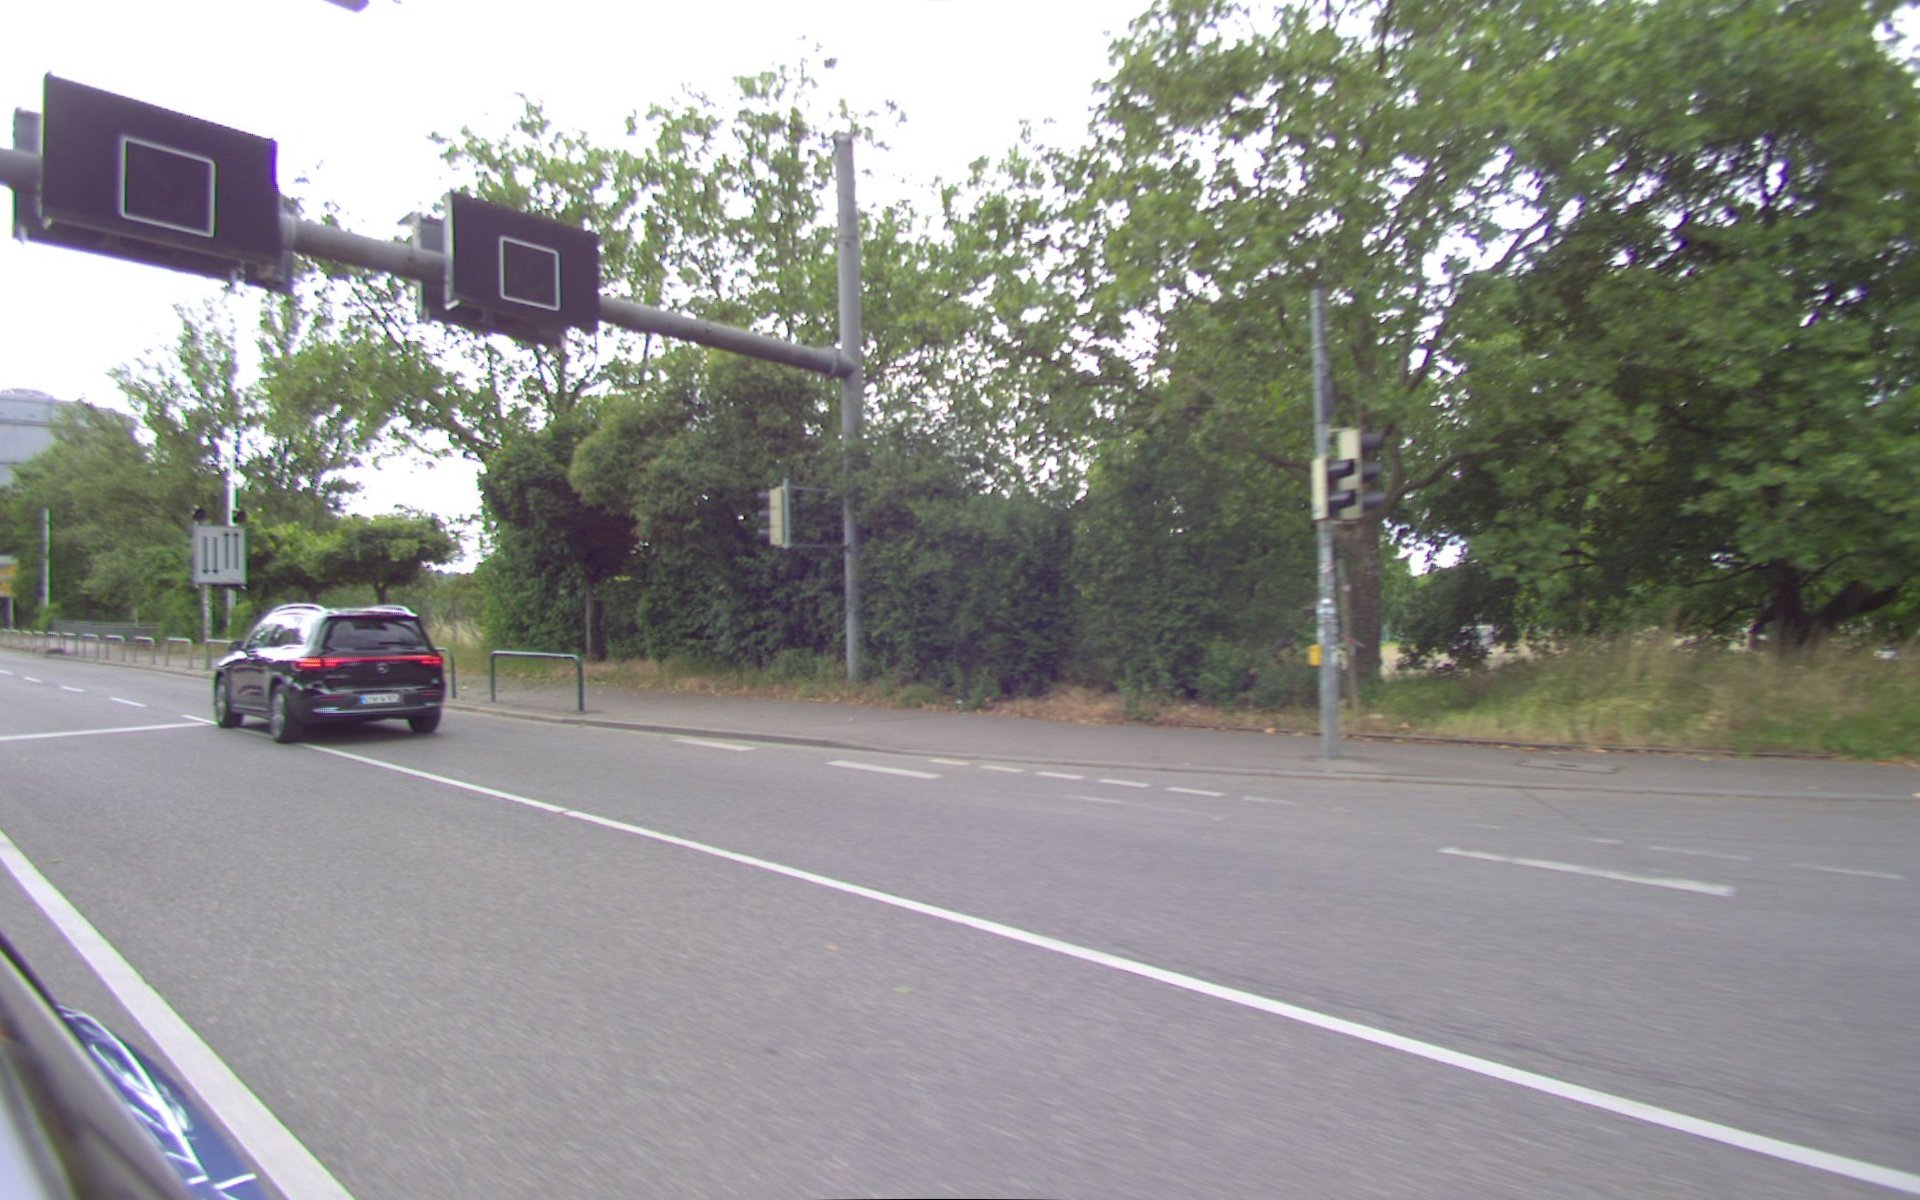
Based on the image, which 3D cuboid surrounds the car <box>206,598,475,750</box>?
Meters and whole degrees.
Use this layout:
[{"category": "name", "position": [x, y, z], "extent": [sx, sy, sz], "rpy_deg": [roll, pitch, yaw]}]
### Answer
[{"category": "car", "position": [-8.372, 0.884, 13.506], "extent": [4.518, 1.673, 1.971], "rpy_deg": [-1, -2, 44]}]
